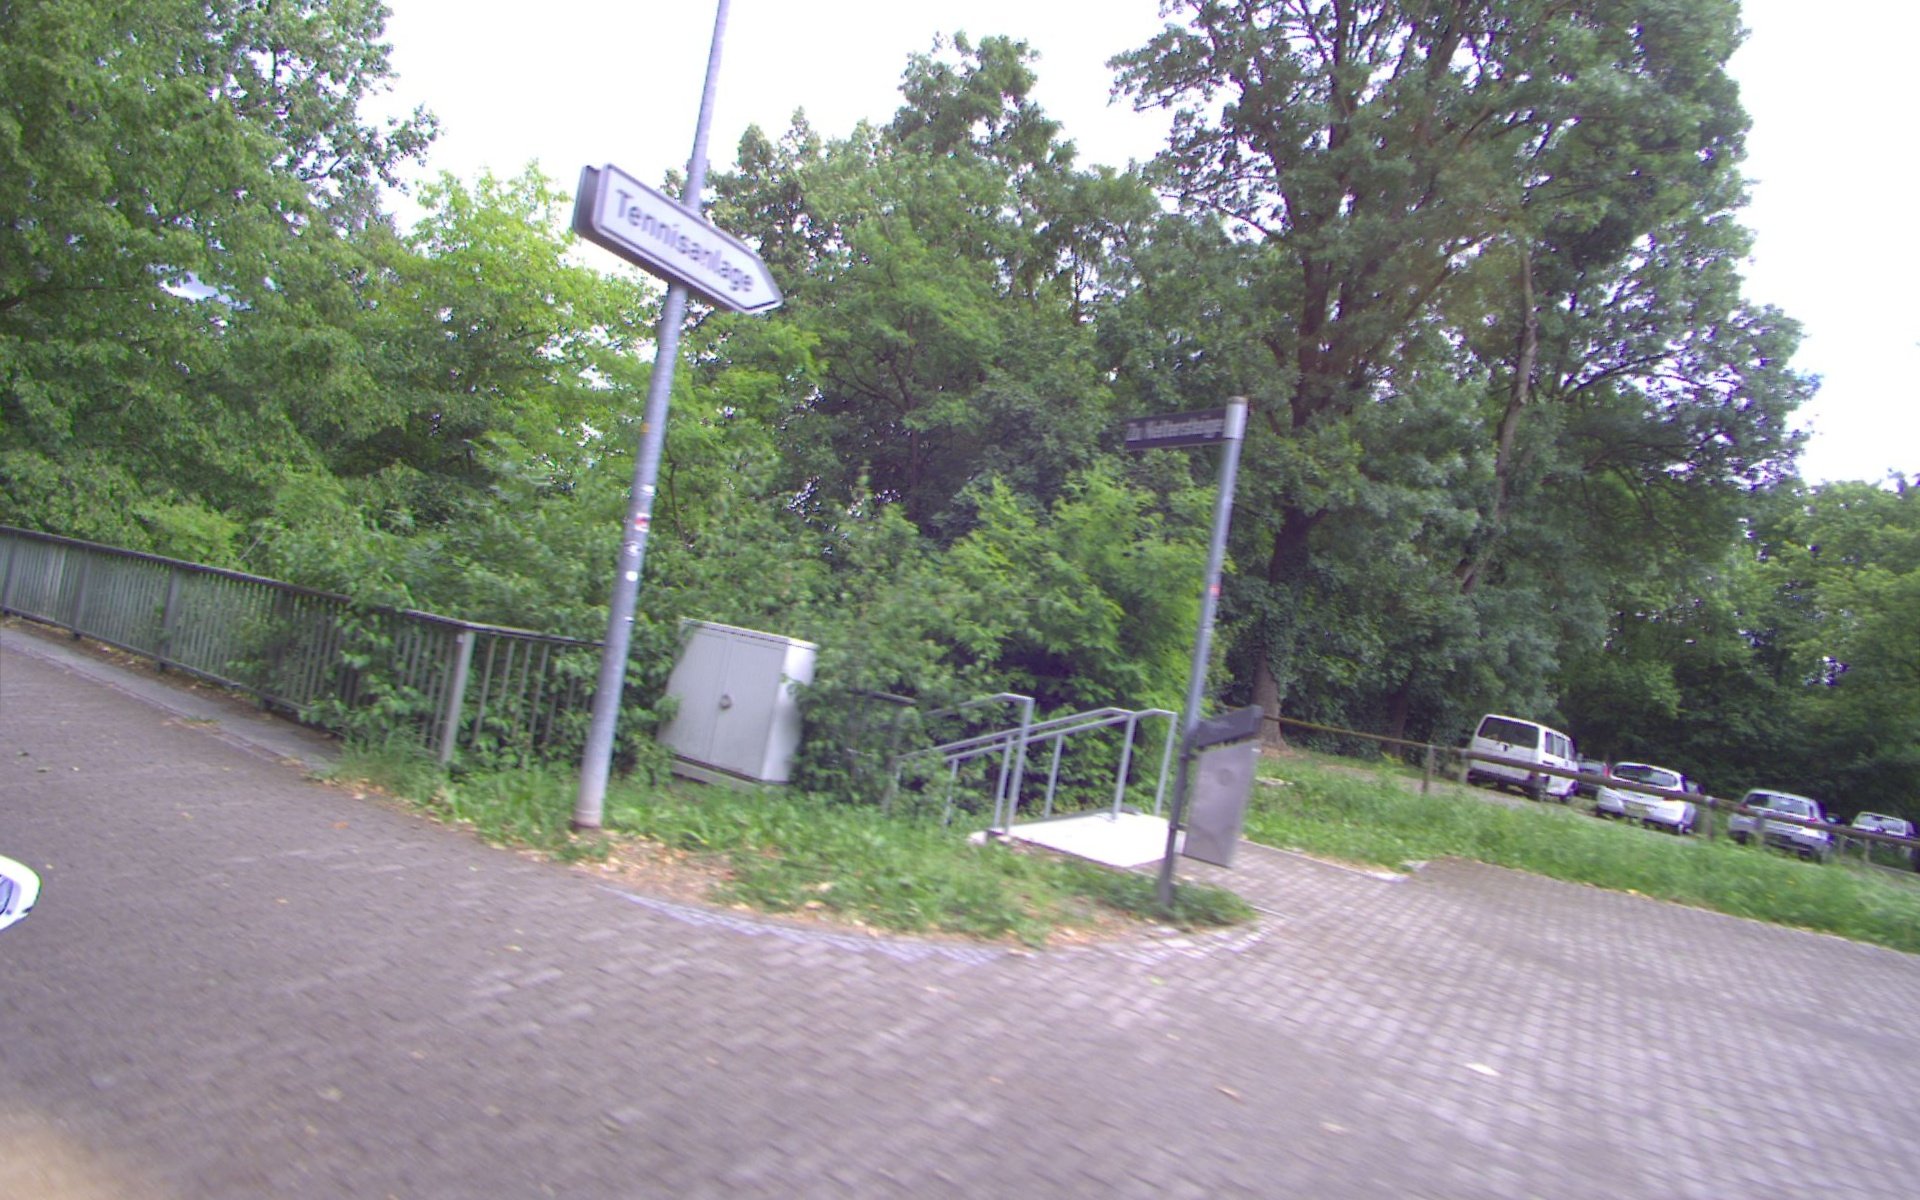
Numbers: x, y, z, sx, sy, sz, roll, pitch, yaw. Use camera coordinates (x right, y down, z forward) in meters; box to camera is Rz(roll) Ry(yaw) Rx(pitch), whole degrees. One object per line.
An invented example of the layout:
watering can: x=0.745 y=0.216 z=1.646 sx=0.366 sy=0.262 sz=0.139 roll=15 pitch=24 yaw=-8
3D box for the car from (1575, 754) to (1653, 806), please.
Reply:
car: x=25.285 y=6.946 z=38.851 sx=1.808 sy=1.587 sz=3.514 roll=6 pitch=-4 yaw=43

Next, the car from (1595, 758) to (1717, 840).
car: x=16.956 y=4.791 z=24.430 sx=1.776 sy=1.515 sz=4.202 roll=5 pitch=-4 yaw=43

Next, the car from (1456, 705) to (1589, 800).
car: x=14.875 y=4.033 z=26.481 sx=1.974 sy=2.036 sz=4.202 roll=5 pitch=-4 yaw=43

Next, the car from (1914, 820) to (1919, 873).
car: x=32.067 y=8.094 z=32.396 sx=1.776 sy=1.515 sz=4.202 roll=5 pitch=-4 yaw=43

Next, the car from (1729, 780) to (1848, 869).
car: x=19.070 y=5.054 z=23.079 sx=1.776 sy=1.515 sz=4.202 roll=5 pitch=-4 yaw=43

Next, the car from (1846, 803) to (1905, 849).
car: x=40.892 y=10.055 z=44.935 sx=1.776 sy=1.515 sz=4.202 roll=5 pitch=-4 yaw=43
